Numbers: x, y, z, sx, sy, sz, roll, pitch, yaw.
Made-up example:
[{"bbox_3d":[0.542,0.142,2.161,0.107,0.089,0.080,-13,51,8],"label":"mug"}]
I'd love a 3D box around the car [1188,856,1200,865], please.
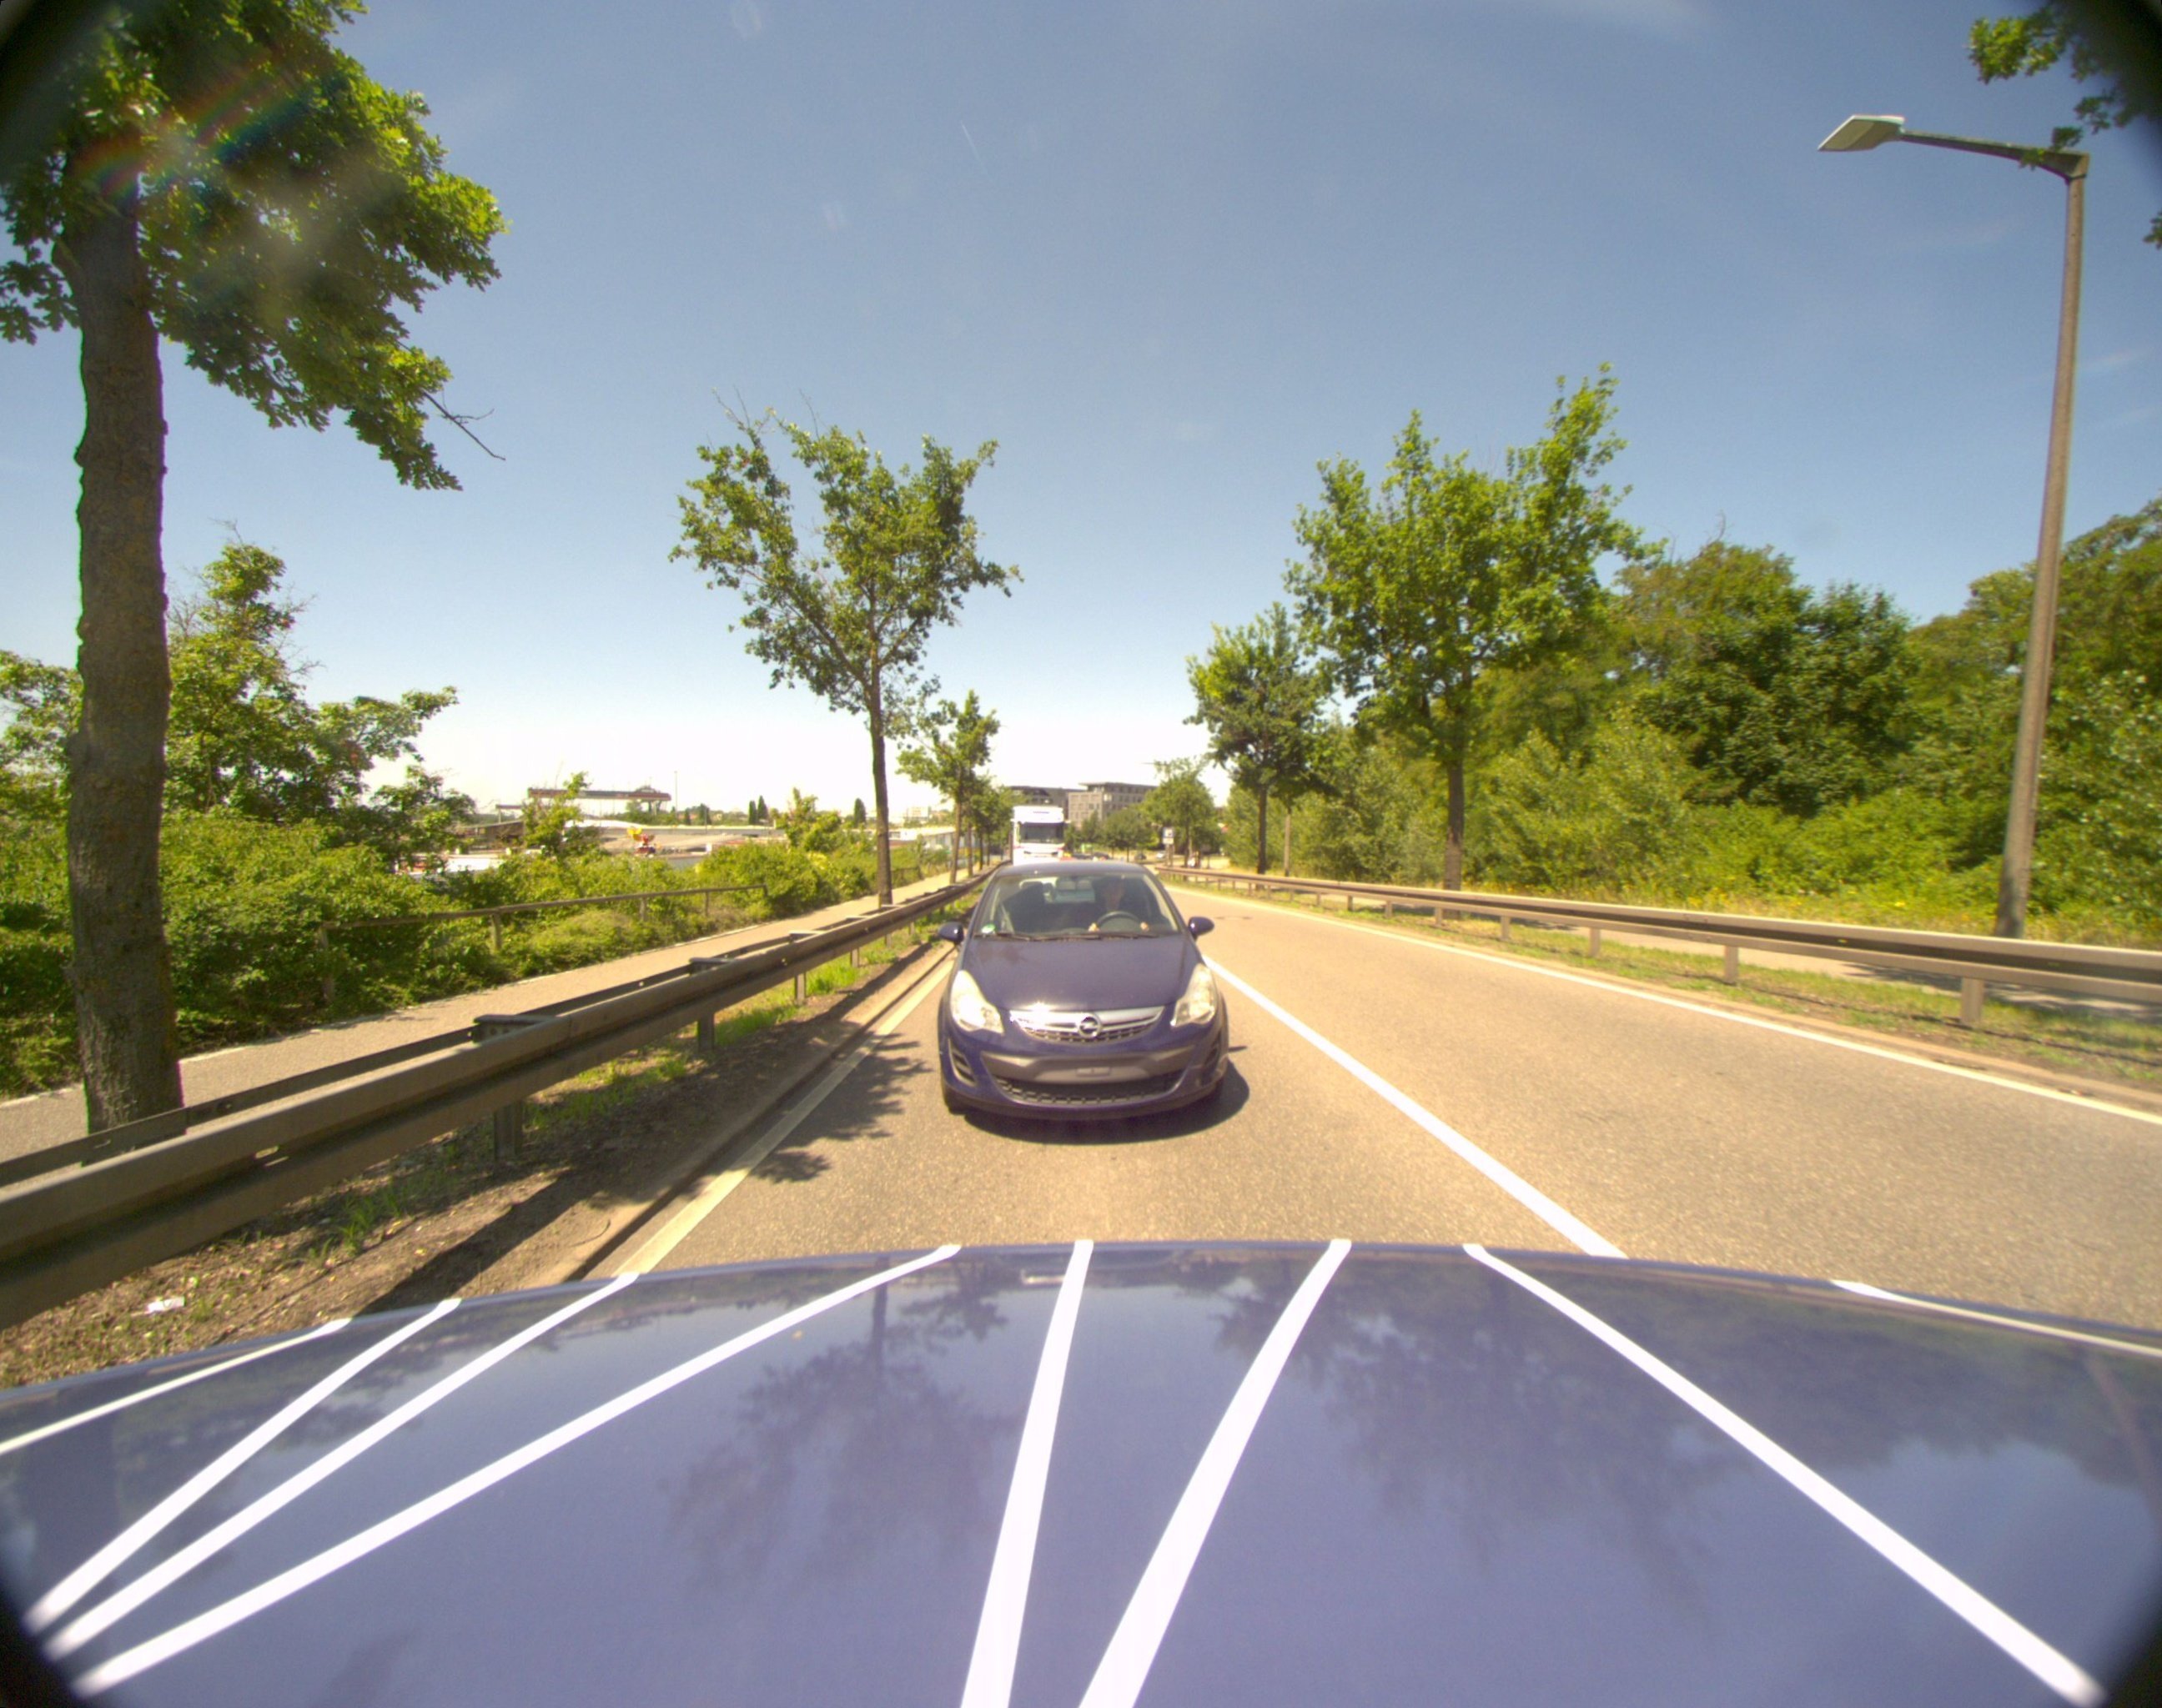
[{"bbox_3d":[20.677,1.149,138.925,1.778,1.435,4.003,-2,1,12],"label":"car"}]

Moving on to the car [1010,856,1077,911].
[{"bbox_3d":[-1.184,0.812,22.728,1.781,1.398,3.998,-2,1,-4],"label":"car"}]

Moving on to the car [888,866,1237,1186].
[{"bbox_3d":[-0.151,0.895,5.762,1.720,1.455,3.836,-2,1,-2],"label":"car"}]

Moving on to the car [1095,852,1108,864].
[{"bbox_3d":[3.602,0.687,133.645,1.779,2.002,4.002,-2,1,8],"label":"car"}]

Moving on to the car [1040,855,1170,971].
[{"bbox_3d":[0.273,0.828,12.576,1.780,1.498,3.895,-2,1,-2],"label":"car"}]

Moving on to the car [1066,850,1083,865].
[{"bbox_3d":[-0.912,0.436,106.626,1.779,2.002,4.002,-2,1,8],"label":"car"}]

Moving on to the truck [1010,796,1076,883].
[{"bbox_3d":[-2.607,-0.788,45.650,3.072,4.146,16.901,-2,1,-5],"label":"truck"}]

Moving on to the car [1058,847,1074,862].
[{"bbox_3d":[-1.753,0.038,90.669,1.743,1.608,4.000,-2,1,2],"label":"car"}]

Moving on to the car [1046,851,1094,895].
[{"bbox_3d":[-0.479,0.726,30.901,1.780,1.569,3.998,-2,1,-2],"label":"car"}]
